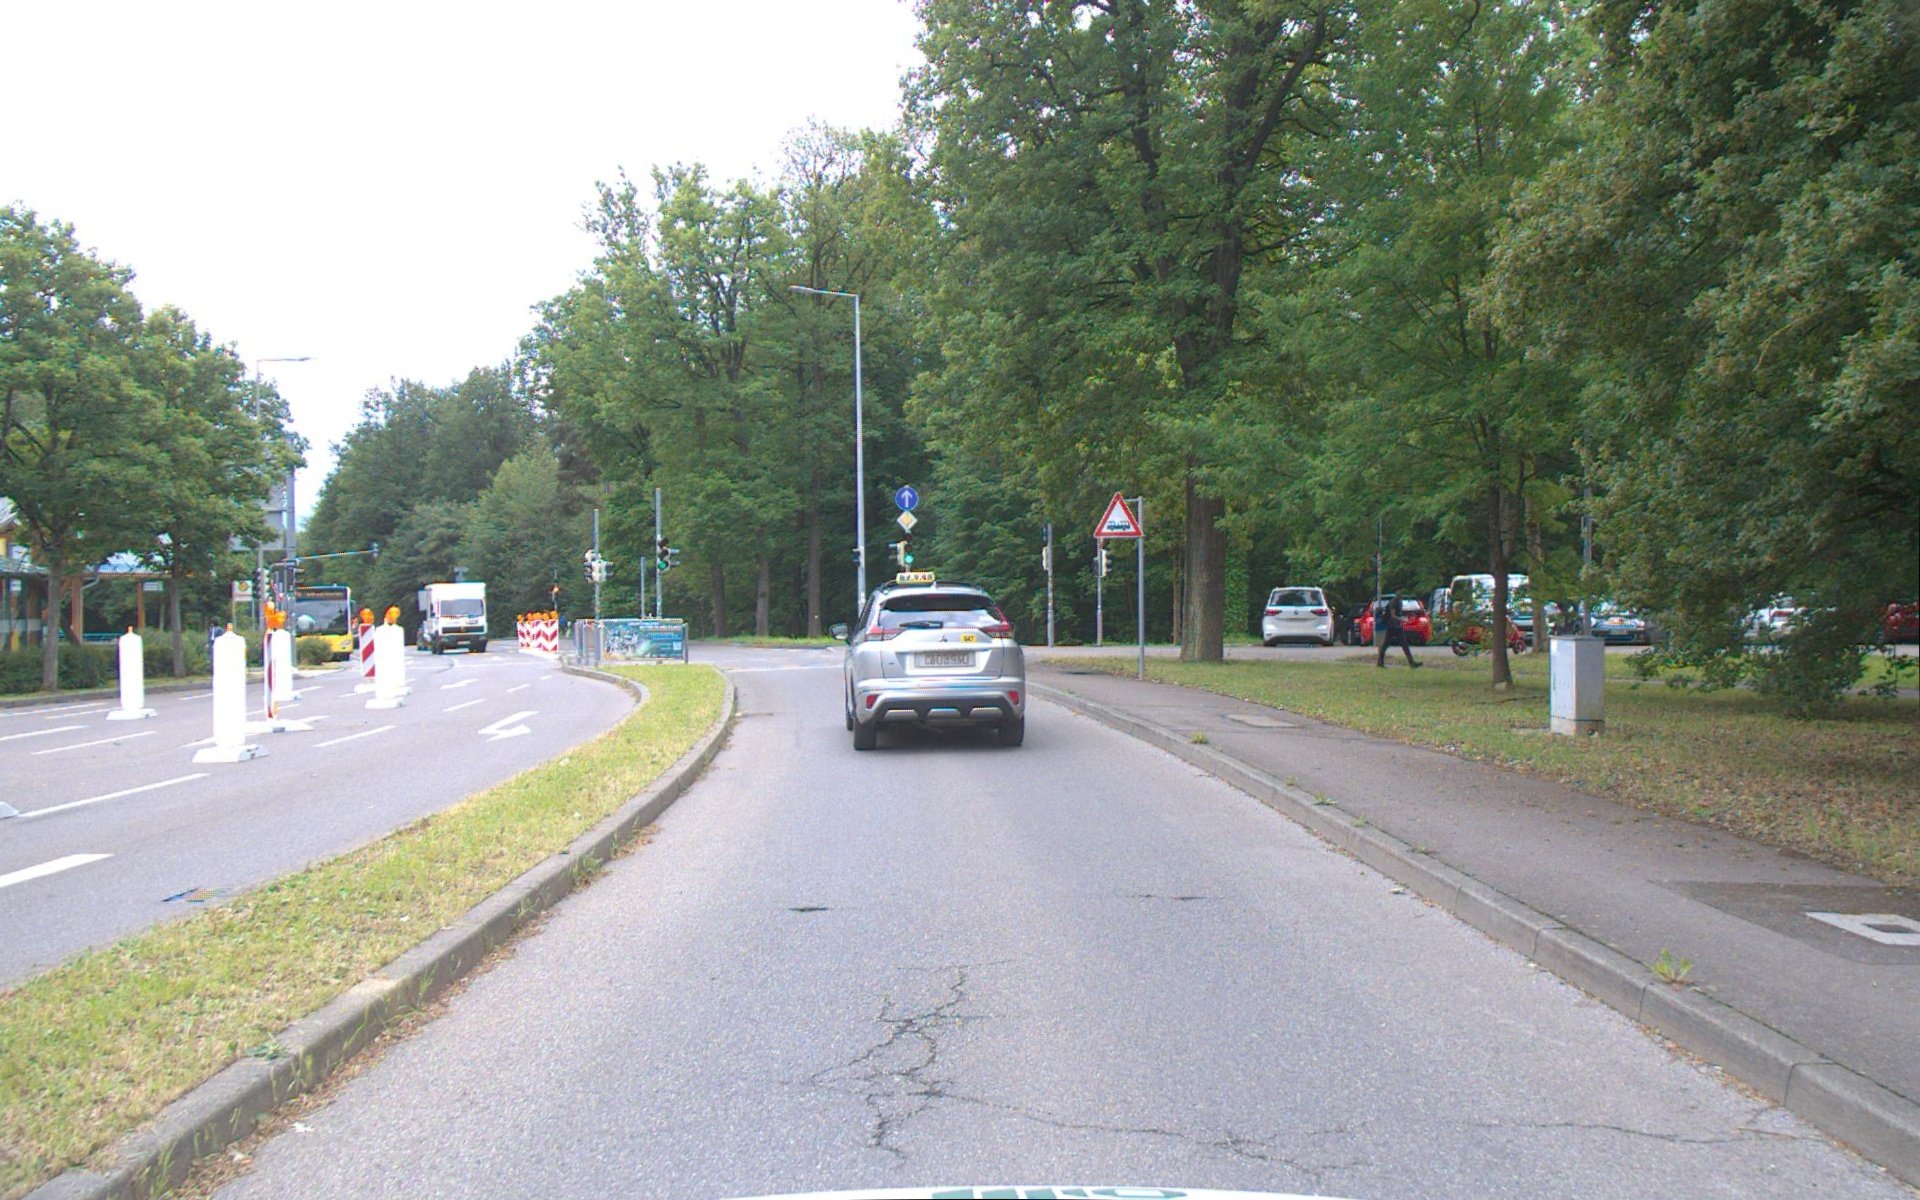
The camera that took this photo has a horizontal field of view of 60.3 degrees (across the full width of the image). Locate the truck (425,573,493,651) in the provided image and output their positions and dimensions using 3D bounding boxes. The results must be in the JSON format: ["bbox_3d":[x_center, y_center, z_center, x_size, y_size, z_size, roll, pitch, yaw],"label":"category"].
[{"bbox_3d":[-23.345,0.557,76.898,2.448,3.344,8.467,-2,0,-20],"label":"truck"}]

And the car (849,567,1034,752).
[{"bbox_3d":[-0.300,0.606,17.919,1.739,1.779,3.776,0,-1,-5],"label":"car"}]

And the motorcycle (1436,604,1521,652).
[{"bbox_3d":[11.940,0.646,38.096,1.788,1.075,0.615,-1,0,9],"label":"motorcycle"}]

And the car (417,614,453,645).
[{"bbox_3d":[-28.213,1.556,88.822,1.534,1.555,3.800,-1,0,-22],"label":"car"}]

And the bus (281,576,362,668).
[{"bbox_3d":[-28.088,0.879,72.445,2.784,3.666,12.710,-1,0,-23],"label":"bus"}]

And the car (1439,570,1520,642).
[{"bbox_3d":[13.694,0.129,43.757,1.795,1.793,4.003,-1,0,14],"label":"car"}]

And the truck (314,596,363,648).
[{"bbox_3d":[-43.542,1.586,115.700,2.453,3.344,8.449,-1,-1,-25],"label":"truck"}]

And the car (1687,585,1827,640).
[{"bbox_3d":[20.881,0.312,43.499,1.526,1.349,3.821,-1,0,-6],"label":"car"}]

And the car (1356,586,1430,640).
[{"bbox_3d":[11.434,0.323,43.780,1.795,1.349,4.003,-1,0,14],"label":"car"}]

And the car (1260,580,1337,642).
[{"bbox_3d":[9.060,0.261,44.083,1.795,1.563,4.003,-1,0,14],"label":"car"}]

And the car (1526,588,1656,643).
[{"bbox_3d":[16.445,0.378,43.281,1.526,1.349,3.995,-1,0,-6],"label":"car"}]

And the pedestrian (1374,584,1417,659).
[{"bbox_3d":[9.060,0.449,34.453,0.822,1.532,0.791,-1,0,13],"label":"pedestrian"}]

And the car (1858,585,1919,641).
[{"bbox_3d":[24.745,0.283,41.418,3.740,1.349,1.559,-1,0,-7],"label":"car"}]

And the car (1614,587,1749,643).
[{"bbox_3d":[18.680,0.362,43.003,1.526,1.349,3.821,-1,0,-6],"label":"car"}]
